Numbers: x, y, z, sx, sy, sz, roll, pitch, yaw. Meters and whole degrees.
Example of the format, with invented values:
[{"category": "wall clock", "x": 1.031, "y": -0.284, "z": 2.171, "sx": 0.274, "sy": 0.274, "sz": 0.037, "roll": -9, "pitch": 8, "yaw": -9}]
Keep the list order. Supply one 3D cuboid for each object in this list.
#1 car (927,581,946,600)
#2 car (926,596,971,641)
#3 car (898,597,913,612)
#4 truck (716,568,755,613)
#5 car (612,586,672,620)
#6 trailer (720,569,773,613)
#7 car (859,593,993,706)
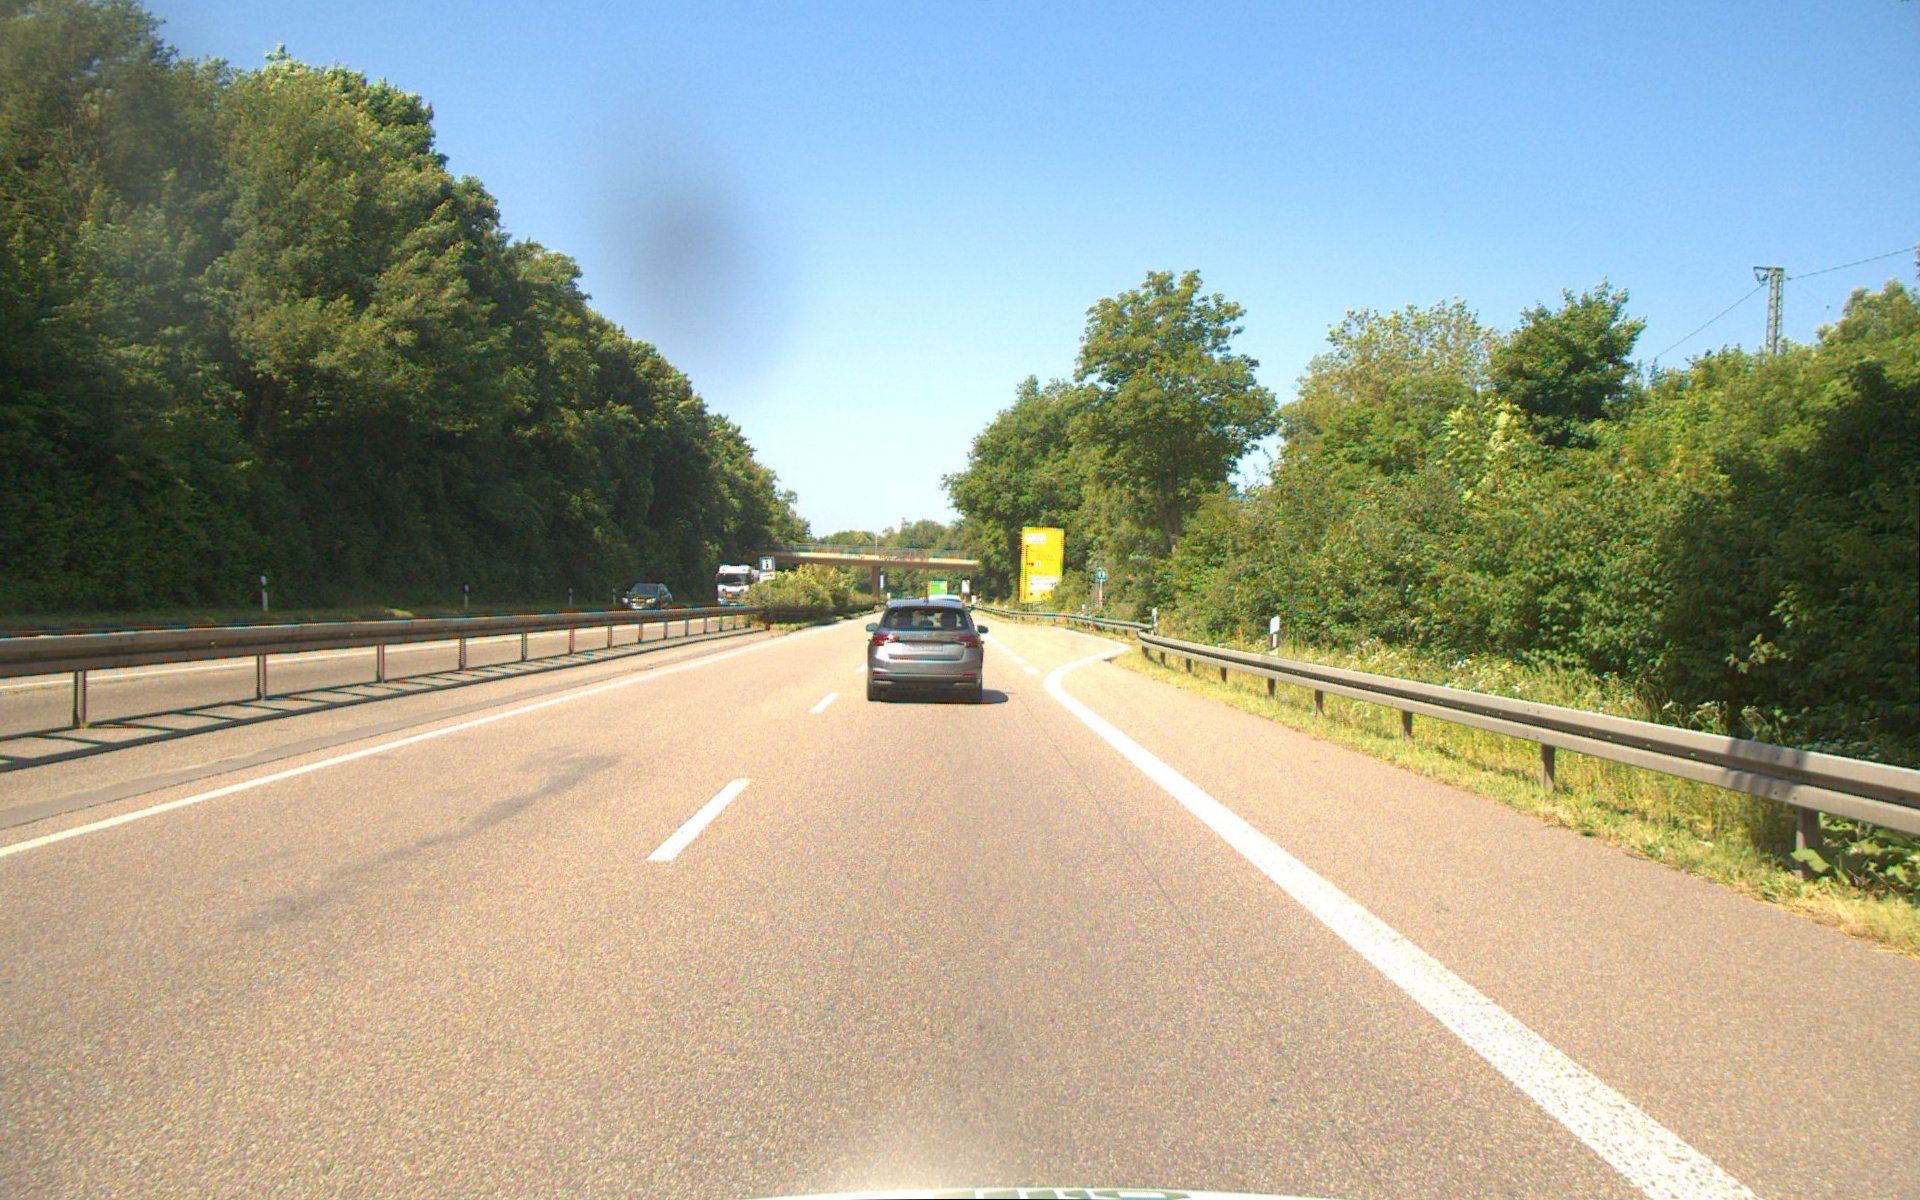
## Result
[{"category": "car", "x": -3.407, "y": -1.351, "z": 241.379, "sx": 2.693, "sy": 2.700, "sz": 3.999, "roll": 1, "pitch": 0, "yaw": -1}, {"category": "car", "x": -0.379, "y": 0.633, "z": 57.649, "sx": 1.491, "sy": 1.472, "sz": 3.340, "roll": 1, "pitch": 0, "yaw": 1}, {"category": "car", "x": -7.575, "y": 0.653, "z": 230.965, "sx": 1.953, "sy": 2.049, "sz": 3.999, "roll": 1, "pitch": 0, "yaw": -1}, {"category": "truck", "x": -17.135, "y": -0.691, "z": 126.242, "sx": 2.375, "sy": 3.315, "sz": 3.999, "roll": 1, "pitch": 0, "yaw": -1}, {"category": "car", "x": -15.099, "y": 0.137, "z": 78.663, "sx": 1.804, "sy": 1.536, "sz": 4.552, "roll": 1, "pitch": 0, "yaw": 2}, {"category": "trailer", "x": -17.116, "y": -0.635, "z": 133.682, "sx": 2.442, "sy": 3.292, "sz": 14.429, "roll": 1, "pitch": 0, "yaw": 0}, {"category": "car", "x": -0.443, "y": 0.675, "z": 24.504, "sx": 1.802, "sy": 1.497, "sz": 3.624, "roll": 1, "pitch": 0, "yaw": 1}]
